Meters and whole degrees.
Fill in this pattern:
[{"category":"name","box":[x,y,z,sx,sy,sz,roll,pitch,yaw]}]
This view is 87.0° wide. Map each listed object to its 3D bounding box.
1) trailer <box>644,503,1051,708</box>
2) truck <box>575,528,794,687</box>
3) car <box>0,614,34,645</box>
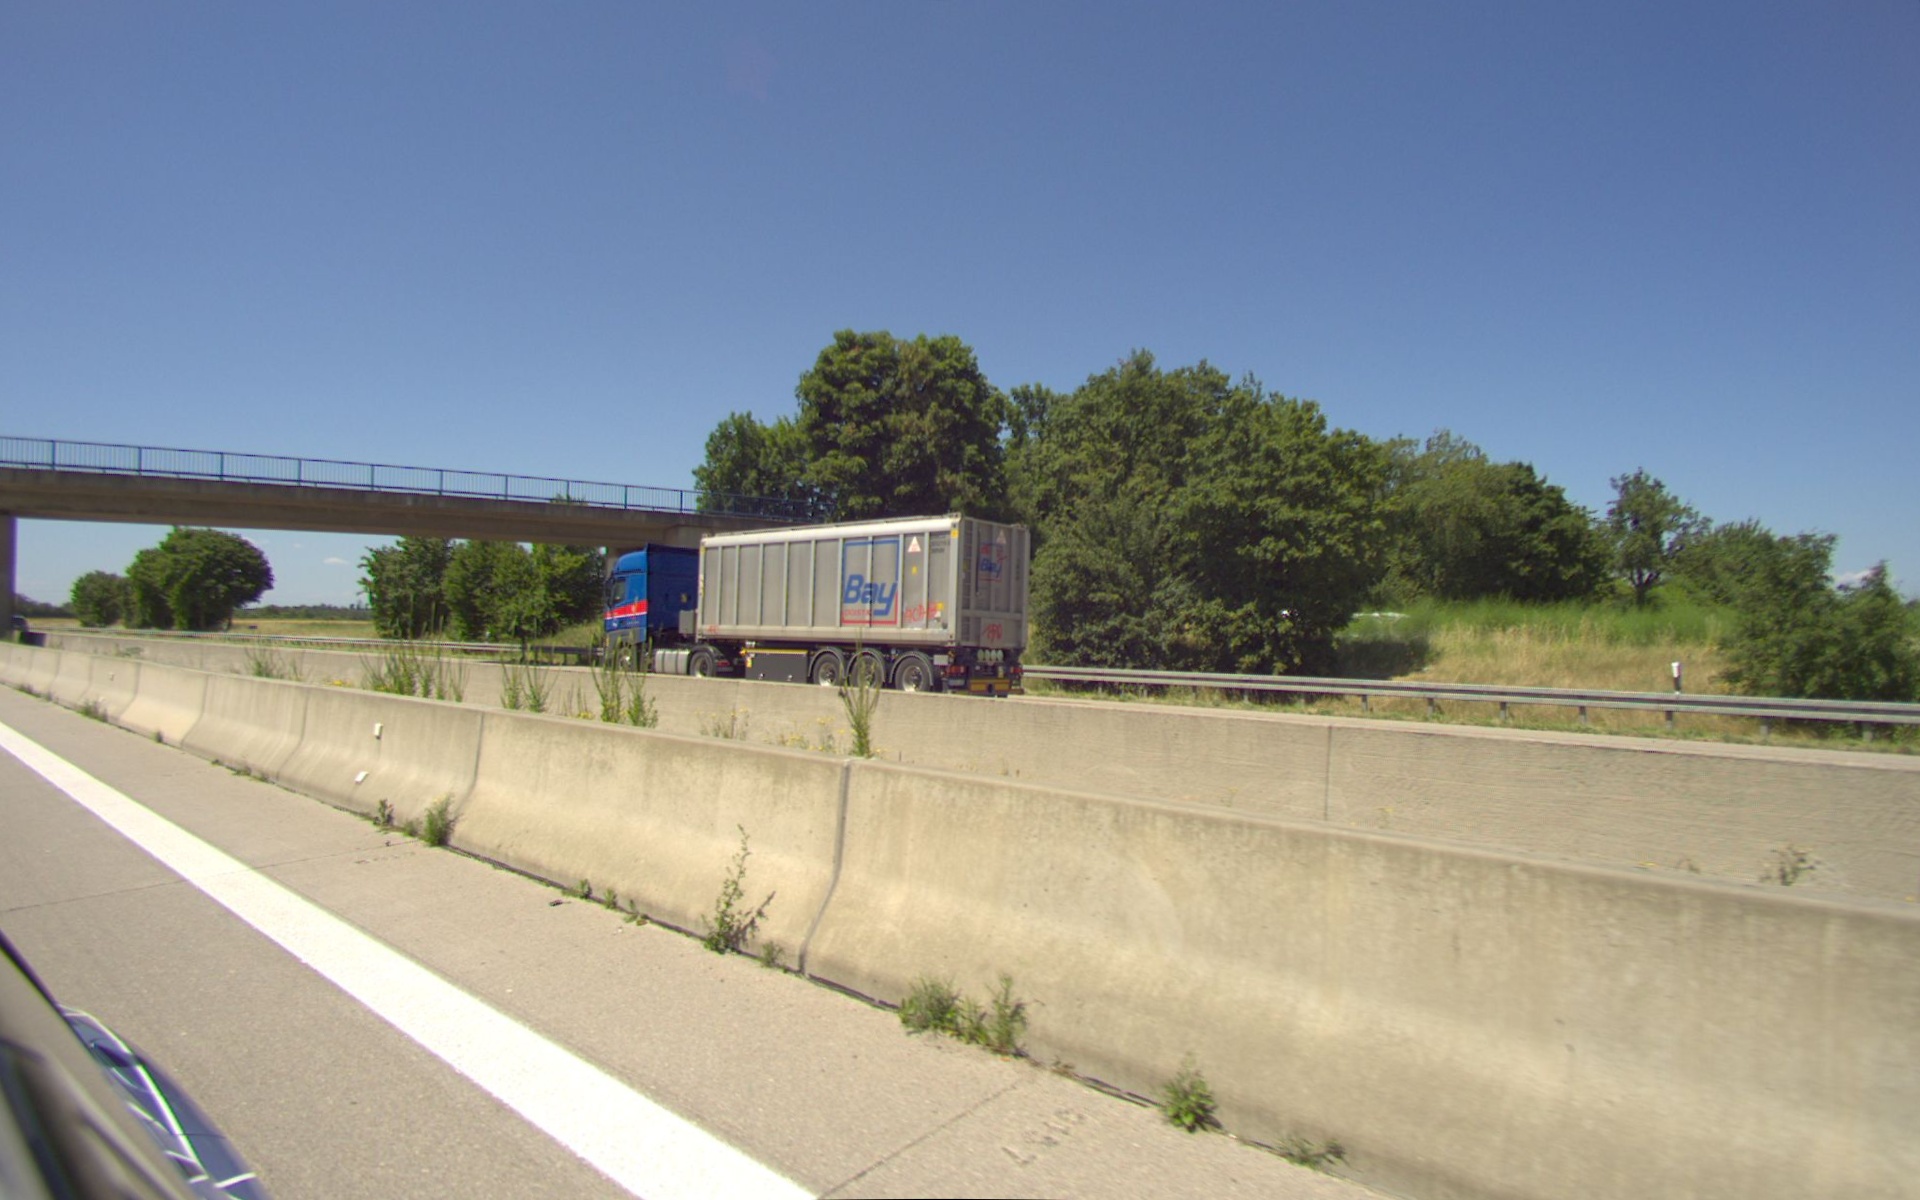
[{"category":"trailer","box":[-3.330,0.247,25.269,11.599,4.121,2.950,-1,-4,41]},{"category":"truck","box":[-8.129,0.302,29.497,6.462,4.121,2.950,-1,-4,41]},{"category":"car","box":[-65.190,1.975,69.140,5.653,2.029,2.282,-1,0,42]}]
